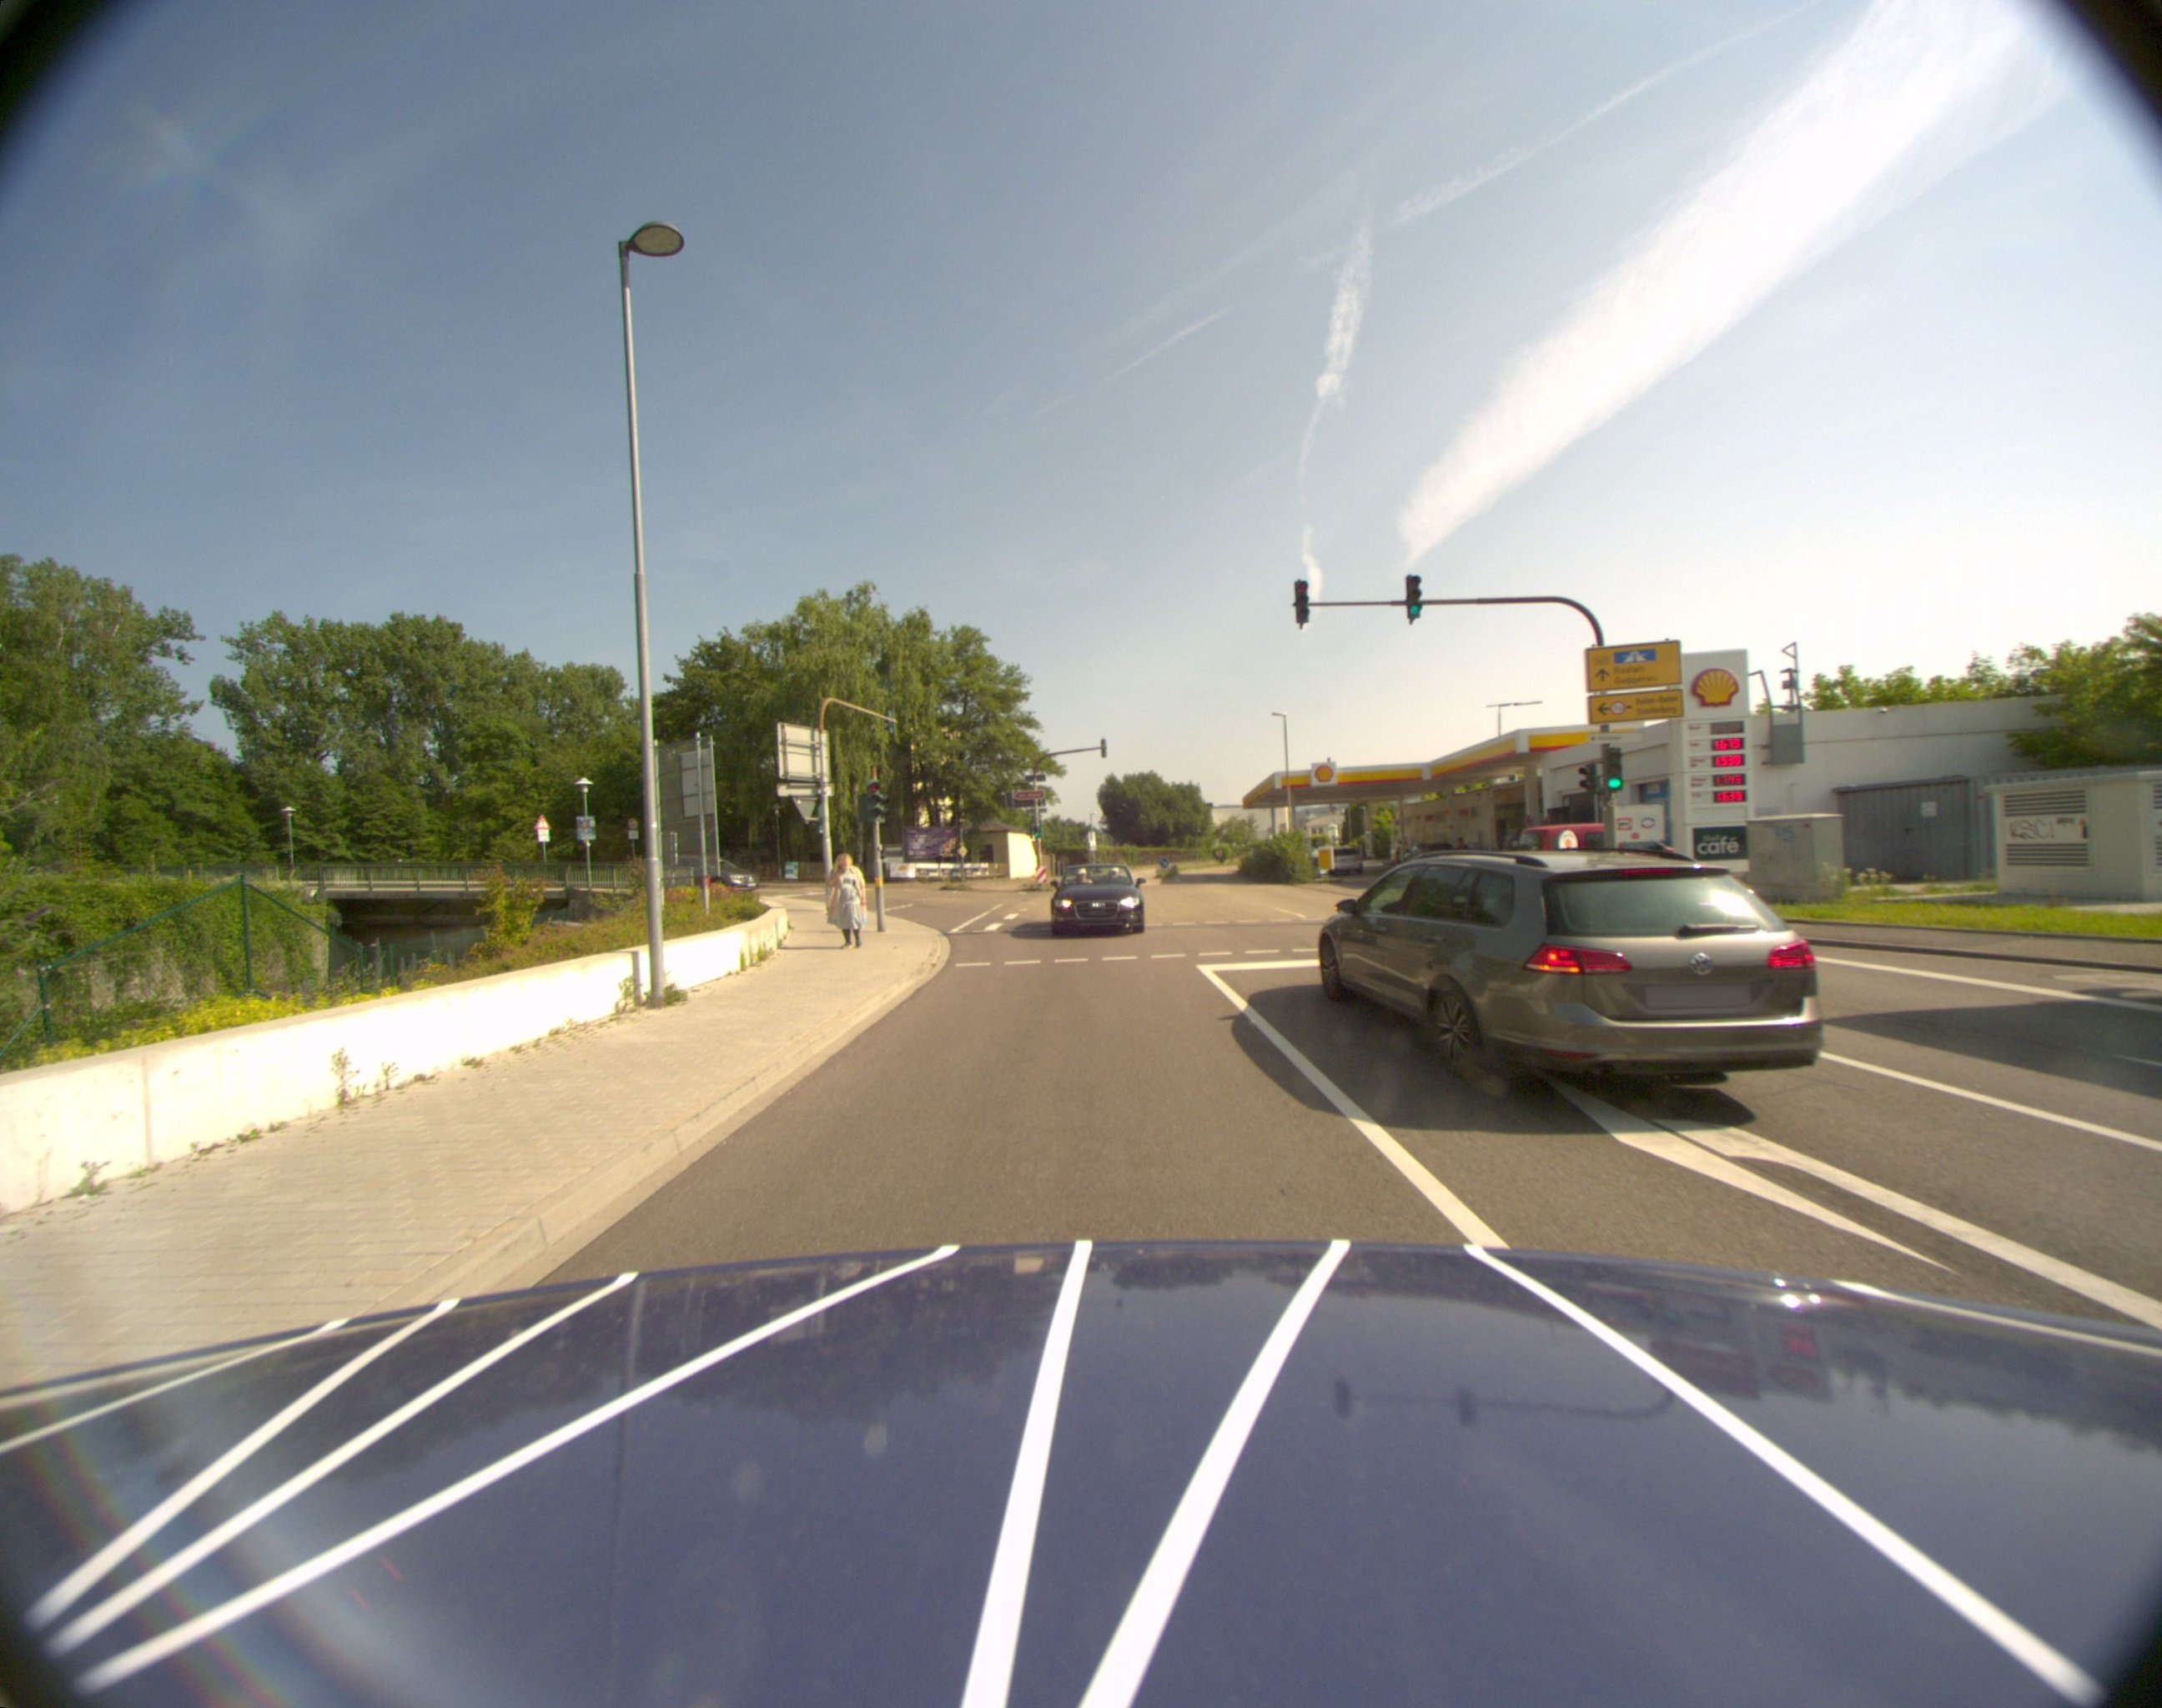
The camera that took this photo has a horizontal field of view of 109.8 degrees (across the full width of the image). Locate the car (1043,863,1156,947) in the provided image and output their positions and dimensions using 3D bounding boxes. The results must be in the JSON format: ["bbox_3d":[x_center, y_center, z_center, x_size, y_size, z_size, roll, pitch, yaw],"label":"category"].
[{"bbox_3d":[0.434,0.882,14.821,1.868,1.323,4.233,-1,0,3],"label":"car"}]

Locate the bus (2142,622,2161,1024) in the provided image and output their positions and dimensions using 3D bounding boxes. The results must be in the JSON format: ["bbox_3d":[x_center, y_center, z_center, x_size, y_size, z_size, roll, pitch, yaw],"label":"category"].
[{"bbox_3d":[10.115,-0.263,0.346,2.627,3.290,11.956,-1,0,0],"label":"bus"}]

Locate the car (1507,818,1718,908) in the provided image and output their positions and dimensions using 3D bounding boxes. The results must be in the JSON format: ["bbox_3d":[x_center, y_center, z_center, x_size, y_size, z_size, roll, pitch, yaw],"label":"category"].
[{"bbox_3d":[12.900,0.232,18.639,3.783,1.785,1.703,-5,0,6],"label":"car"}]

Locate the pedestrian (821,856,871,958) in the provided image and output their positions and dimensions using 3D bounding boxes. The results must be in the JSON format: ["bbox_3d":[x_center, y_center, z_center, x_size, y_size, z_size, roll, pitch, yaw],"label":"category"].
[{"bbox_3d":[-3.955,0.878,12.836,0.713,1.661,0.592,-1,1,-12],"label":"pedestrian"}]

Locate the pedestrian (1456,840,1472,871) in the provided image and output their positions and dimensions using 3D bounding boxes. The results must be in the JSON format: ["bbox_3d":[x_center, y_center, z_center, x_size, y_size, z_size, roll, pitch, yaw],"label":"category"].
[{"bbox_3d":[19.784,0.081,39.240,0.559,1.538,0.535,-1,1,7],"label":"pedestrian"}]

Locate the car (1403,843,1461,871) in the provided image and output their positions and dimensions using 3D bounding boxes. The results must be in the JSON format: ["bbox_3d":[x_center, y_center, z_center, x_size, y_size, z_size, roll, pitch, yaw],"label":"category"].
[{"bbox_3d":[18.741,0.125,40.753,1.631,1.403,4.230,-1,0,8],"label":"car"}]

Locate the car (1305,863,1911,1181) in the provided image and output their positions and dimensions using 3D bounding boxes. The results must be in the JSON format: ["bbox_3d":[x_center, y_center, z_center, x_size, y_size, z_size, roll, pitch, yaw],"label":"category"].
[{"bbox_3d":[3.196,0.851,5.822,1.776,1.464,4.220,-1,0,1],"label":"car"}]

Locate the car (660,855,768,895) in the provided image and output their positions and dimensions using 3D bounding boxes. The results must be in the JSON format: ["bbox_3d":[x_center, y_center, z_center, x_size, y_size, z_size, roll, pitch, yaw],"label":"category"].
[{"bbox_3d":[-15.052,0.841,31.180,4.074,1.509,1.670,1,1,21],"label":"car"}]
